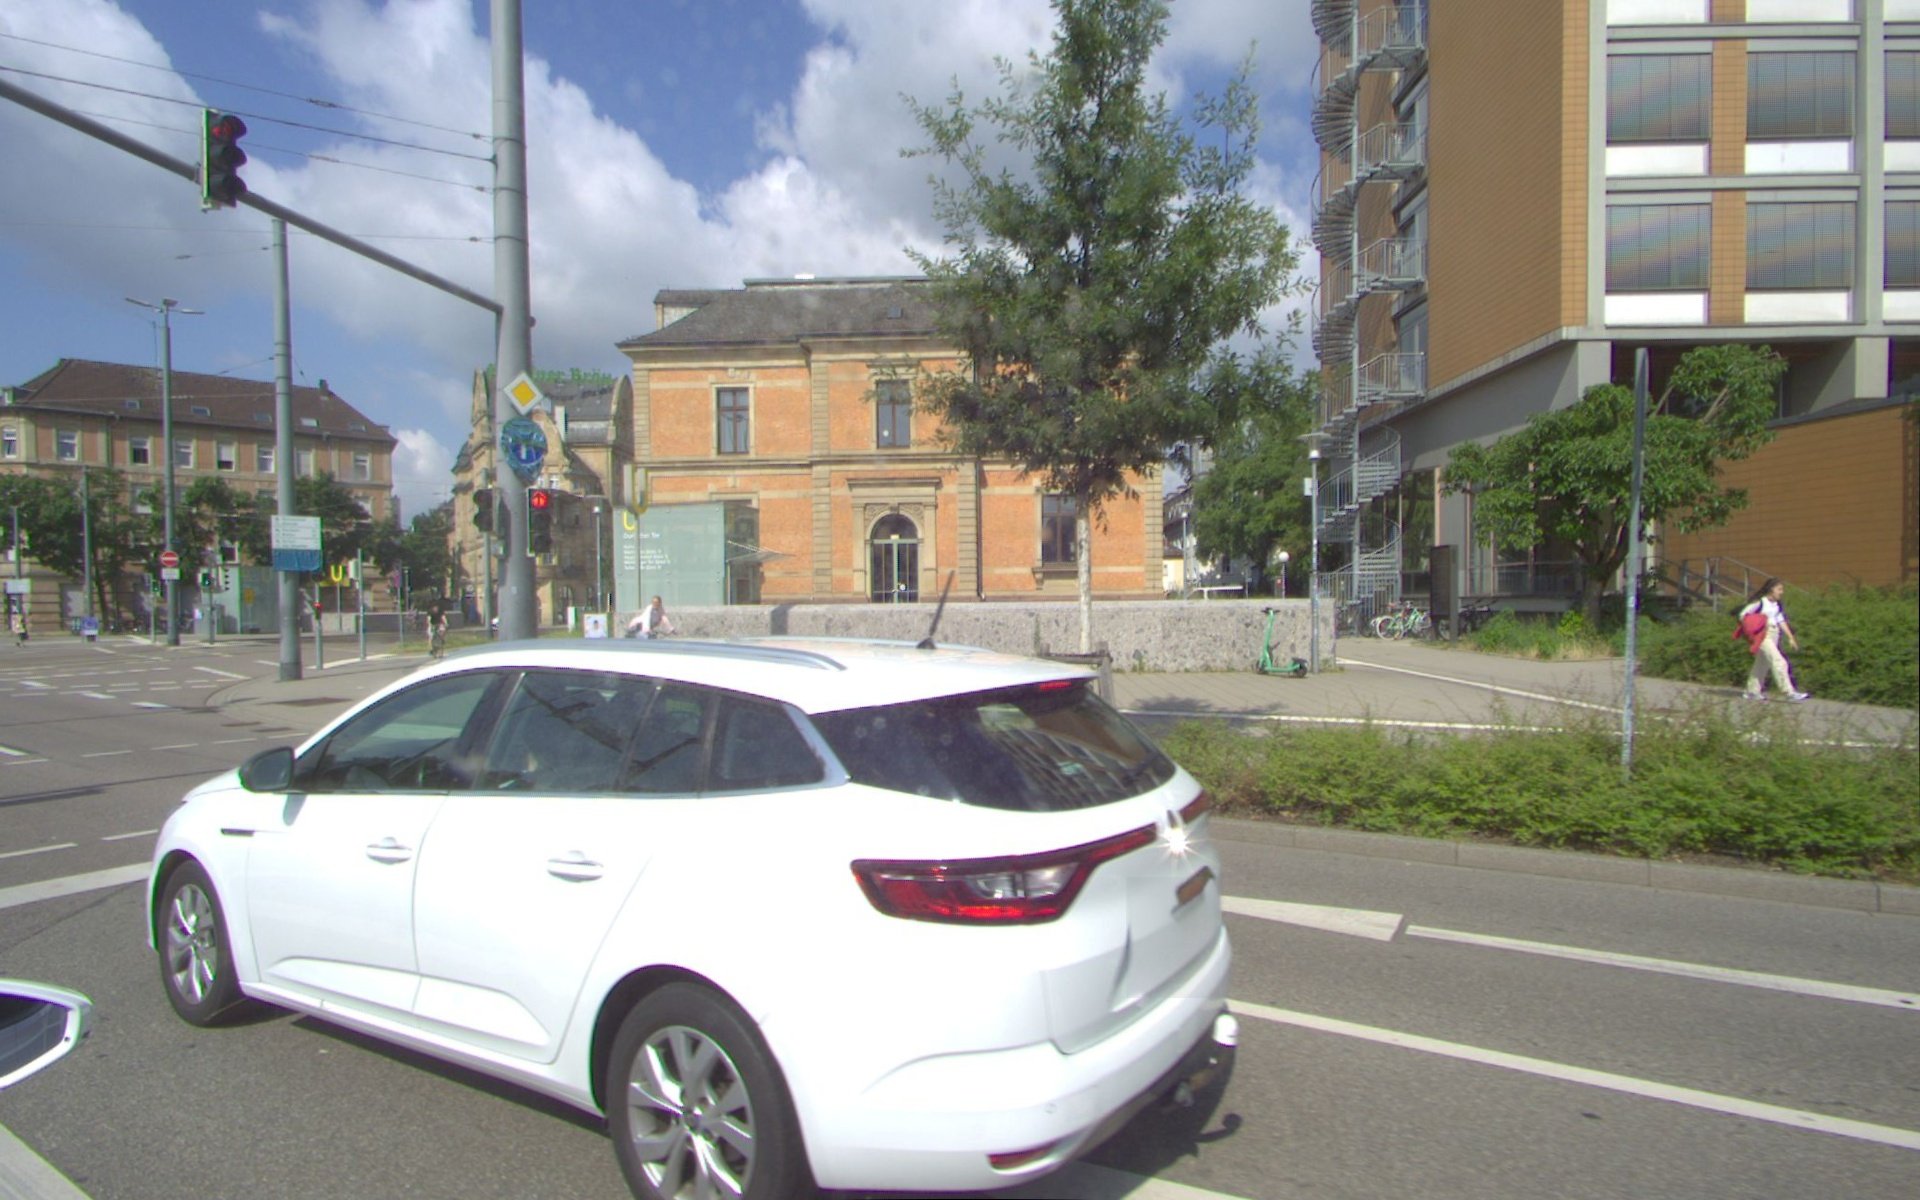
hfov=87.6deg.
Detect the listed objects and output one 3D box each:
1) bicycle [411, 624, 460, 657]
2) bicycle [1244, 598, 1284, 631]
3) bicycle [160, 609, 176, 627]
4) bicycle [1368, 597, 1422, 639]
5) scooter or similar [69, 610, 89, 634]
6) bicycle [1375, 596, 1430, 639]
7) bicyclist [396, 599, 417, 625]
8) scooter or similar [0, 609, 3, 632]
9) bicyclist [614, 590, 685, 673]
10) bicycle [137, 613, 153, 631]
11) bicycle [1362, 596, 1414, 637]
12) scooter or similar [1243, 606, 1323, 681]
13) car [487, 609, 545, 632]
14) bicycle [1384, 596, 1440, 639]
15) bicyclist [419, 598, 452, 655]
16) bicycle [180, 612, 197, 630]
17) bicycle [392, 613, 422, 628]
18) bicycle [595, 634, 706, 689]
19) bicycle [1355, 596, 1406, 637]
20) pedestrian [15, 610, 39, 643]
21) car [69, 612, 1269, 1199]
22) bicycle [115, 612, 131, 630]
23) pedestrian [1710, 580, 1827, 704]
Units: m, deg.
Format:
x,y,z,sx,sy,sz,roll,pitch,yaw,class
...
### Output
x,y,z,sx,sy,sz,roll,pitch,yaw,class
-15.820,1.217,30.193,1.790,0.887,0.754,0,3,45,bicycle
11.923,0.560,39.281,1.446,1.264,0.428,0,1,2,bicycle
-53.434,1.239,67.558,0.753,1.180,2.662,1,-2,-41,bicycle
13.327,0.538,30.681,1.446,1.264,0.428,0,1,2,bicycle
-56.451,1.389,64.151,0.871,1.502,1.995,-1,0,-43,scooter or similar
13.336,0.531,30.178,1.446,1.264,0.428,0,1,2,bicycle
-37.642,0.809,68.123,0.605,1.696,1.145,-1,0,23,bicyclist
-60.104,1.296,61.861,2.772,1.403,1.171,-2,-2,41,scooter or similar
-5.693,0.571,18.378,1.153,1.477,0.632,0,1,32,bicyclist
-54.443,1.459,66.855,0.753,1.181,2.661,0,0,-41,bicycle
13.321,0.511,31.174,1.446,1.264,0.428,0,1,2,bicycle
5.586,0.723,17.384,0.427,1.200,1.532,-1,2,-22,scooter or similar
-32.292,1.541,72.940,1.919,1.616,4.508,0,-2,4,car
13.372,0.512,29.648,1.446,1.264,0.428,0,1,2,bicycle
-15.825,0.786,30.191,0.927,1.694,0.574,0,2,44,bicyclist
-52.606,1.402,68.288,0.753,1.181,2.661,-1,0,-41,bicycle
-37.657,1.391,68.173,0.830,0.969,1.778,-2,0,9,bicycle
-5.705,1.108,18.388,2.243,0.909,0.650,-1,0,32,bicycle
13.295,0.516,31.683,1.446,1.264,0.428,0,1,2,bicycle
-43.875,1.232,47.106,0.733,1.536,0.541,-1,1,-36,pedestrian
-1.373,0.827,3.826,4.606,1.447,1.755,-2,-2,31,car
-55.341,1.381,66.177,0.753,1.181,2.661,-1,0,-41,bicycle
10.811,0.542,13.419,0.755,1.599,0.956,-1,1,-15,pedestrian
